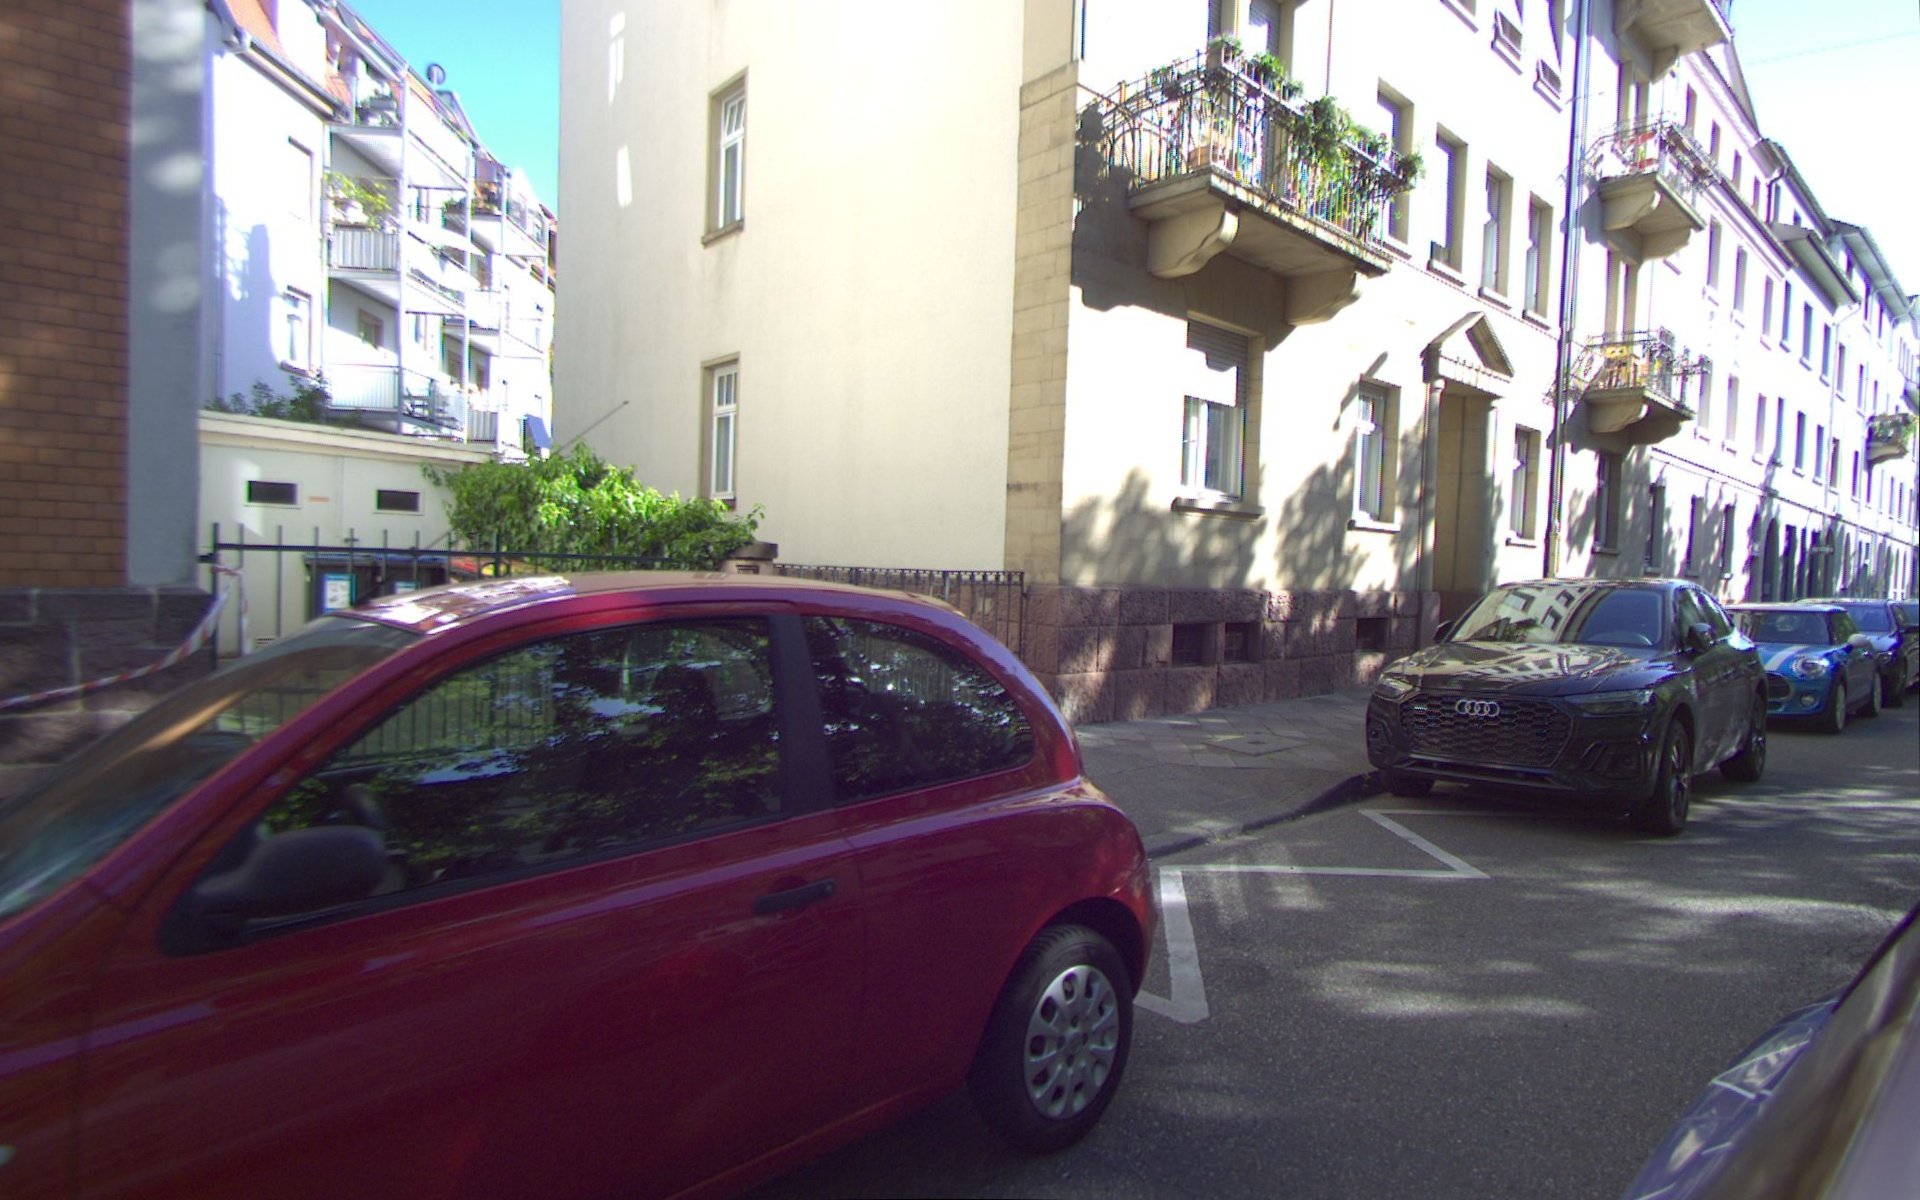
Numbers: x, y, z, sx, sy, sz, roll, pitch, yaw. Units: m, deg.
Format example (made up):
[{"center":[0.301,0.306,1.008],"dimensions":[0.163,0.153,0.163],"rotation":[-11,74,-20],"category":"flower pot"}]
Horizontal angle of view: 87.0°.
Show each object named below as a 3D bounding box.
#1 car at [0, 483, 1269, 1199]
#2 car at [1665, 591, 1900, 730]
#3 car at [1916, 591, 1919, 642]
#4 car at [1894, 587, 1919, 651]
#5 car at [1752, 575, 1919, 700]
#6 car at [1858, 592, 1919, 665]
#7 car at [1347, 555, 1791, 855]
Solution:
[{"center":[-1.013,0.627,2.558],"dimensions":[3.931,1.557,1.648],"rotation":[0,0,-42],"category":"car"},{"center":[10.116,0.624,12.369],"dimensions":[3.568,1.433,1.593],"rotation":[0,1,-40],"category":"car"},{"center":[29.385,0.499,29.520],"dimensions":[4.216,1.449,1.773],"rotation":[0,2,-41],"category":"car"},{"center":[25.377,0.466,25.939],"dimensions":[4.112,1.571,1.770],"rotation":[0,1,-42],"category":"car"},{"center":[13.761,0.484,15.540],"dimensions":[4.247,1.582,1.808],"rotation":[0,4,-43],"category":"car"},{"center":[21.151,0.582,22.204],"dimensions":[3.935,1.486,1.695],"rotation":[0,1,-41],"category":"car"},{"center":[4.900,0.556,7.830],"dimensions":[4.417,1.664,1.866],"rotation":[0,1,-44],"category":"car"}]
